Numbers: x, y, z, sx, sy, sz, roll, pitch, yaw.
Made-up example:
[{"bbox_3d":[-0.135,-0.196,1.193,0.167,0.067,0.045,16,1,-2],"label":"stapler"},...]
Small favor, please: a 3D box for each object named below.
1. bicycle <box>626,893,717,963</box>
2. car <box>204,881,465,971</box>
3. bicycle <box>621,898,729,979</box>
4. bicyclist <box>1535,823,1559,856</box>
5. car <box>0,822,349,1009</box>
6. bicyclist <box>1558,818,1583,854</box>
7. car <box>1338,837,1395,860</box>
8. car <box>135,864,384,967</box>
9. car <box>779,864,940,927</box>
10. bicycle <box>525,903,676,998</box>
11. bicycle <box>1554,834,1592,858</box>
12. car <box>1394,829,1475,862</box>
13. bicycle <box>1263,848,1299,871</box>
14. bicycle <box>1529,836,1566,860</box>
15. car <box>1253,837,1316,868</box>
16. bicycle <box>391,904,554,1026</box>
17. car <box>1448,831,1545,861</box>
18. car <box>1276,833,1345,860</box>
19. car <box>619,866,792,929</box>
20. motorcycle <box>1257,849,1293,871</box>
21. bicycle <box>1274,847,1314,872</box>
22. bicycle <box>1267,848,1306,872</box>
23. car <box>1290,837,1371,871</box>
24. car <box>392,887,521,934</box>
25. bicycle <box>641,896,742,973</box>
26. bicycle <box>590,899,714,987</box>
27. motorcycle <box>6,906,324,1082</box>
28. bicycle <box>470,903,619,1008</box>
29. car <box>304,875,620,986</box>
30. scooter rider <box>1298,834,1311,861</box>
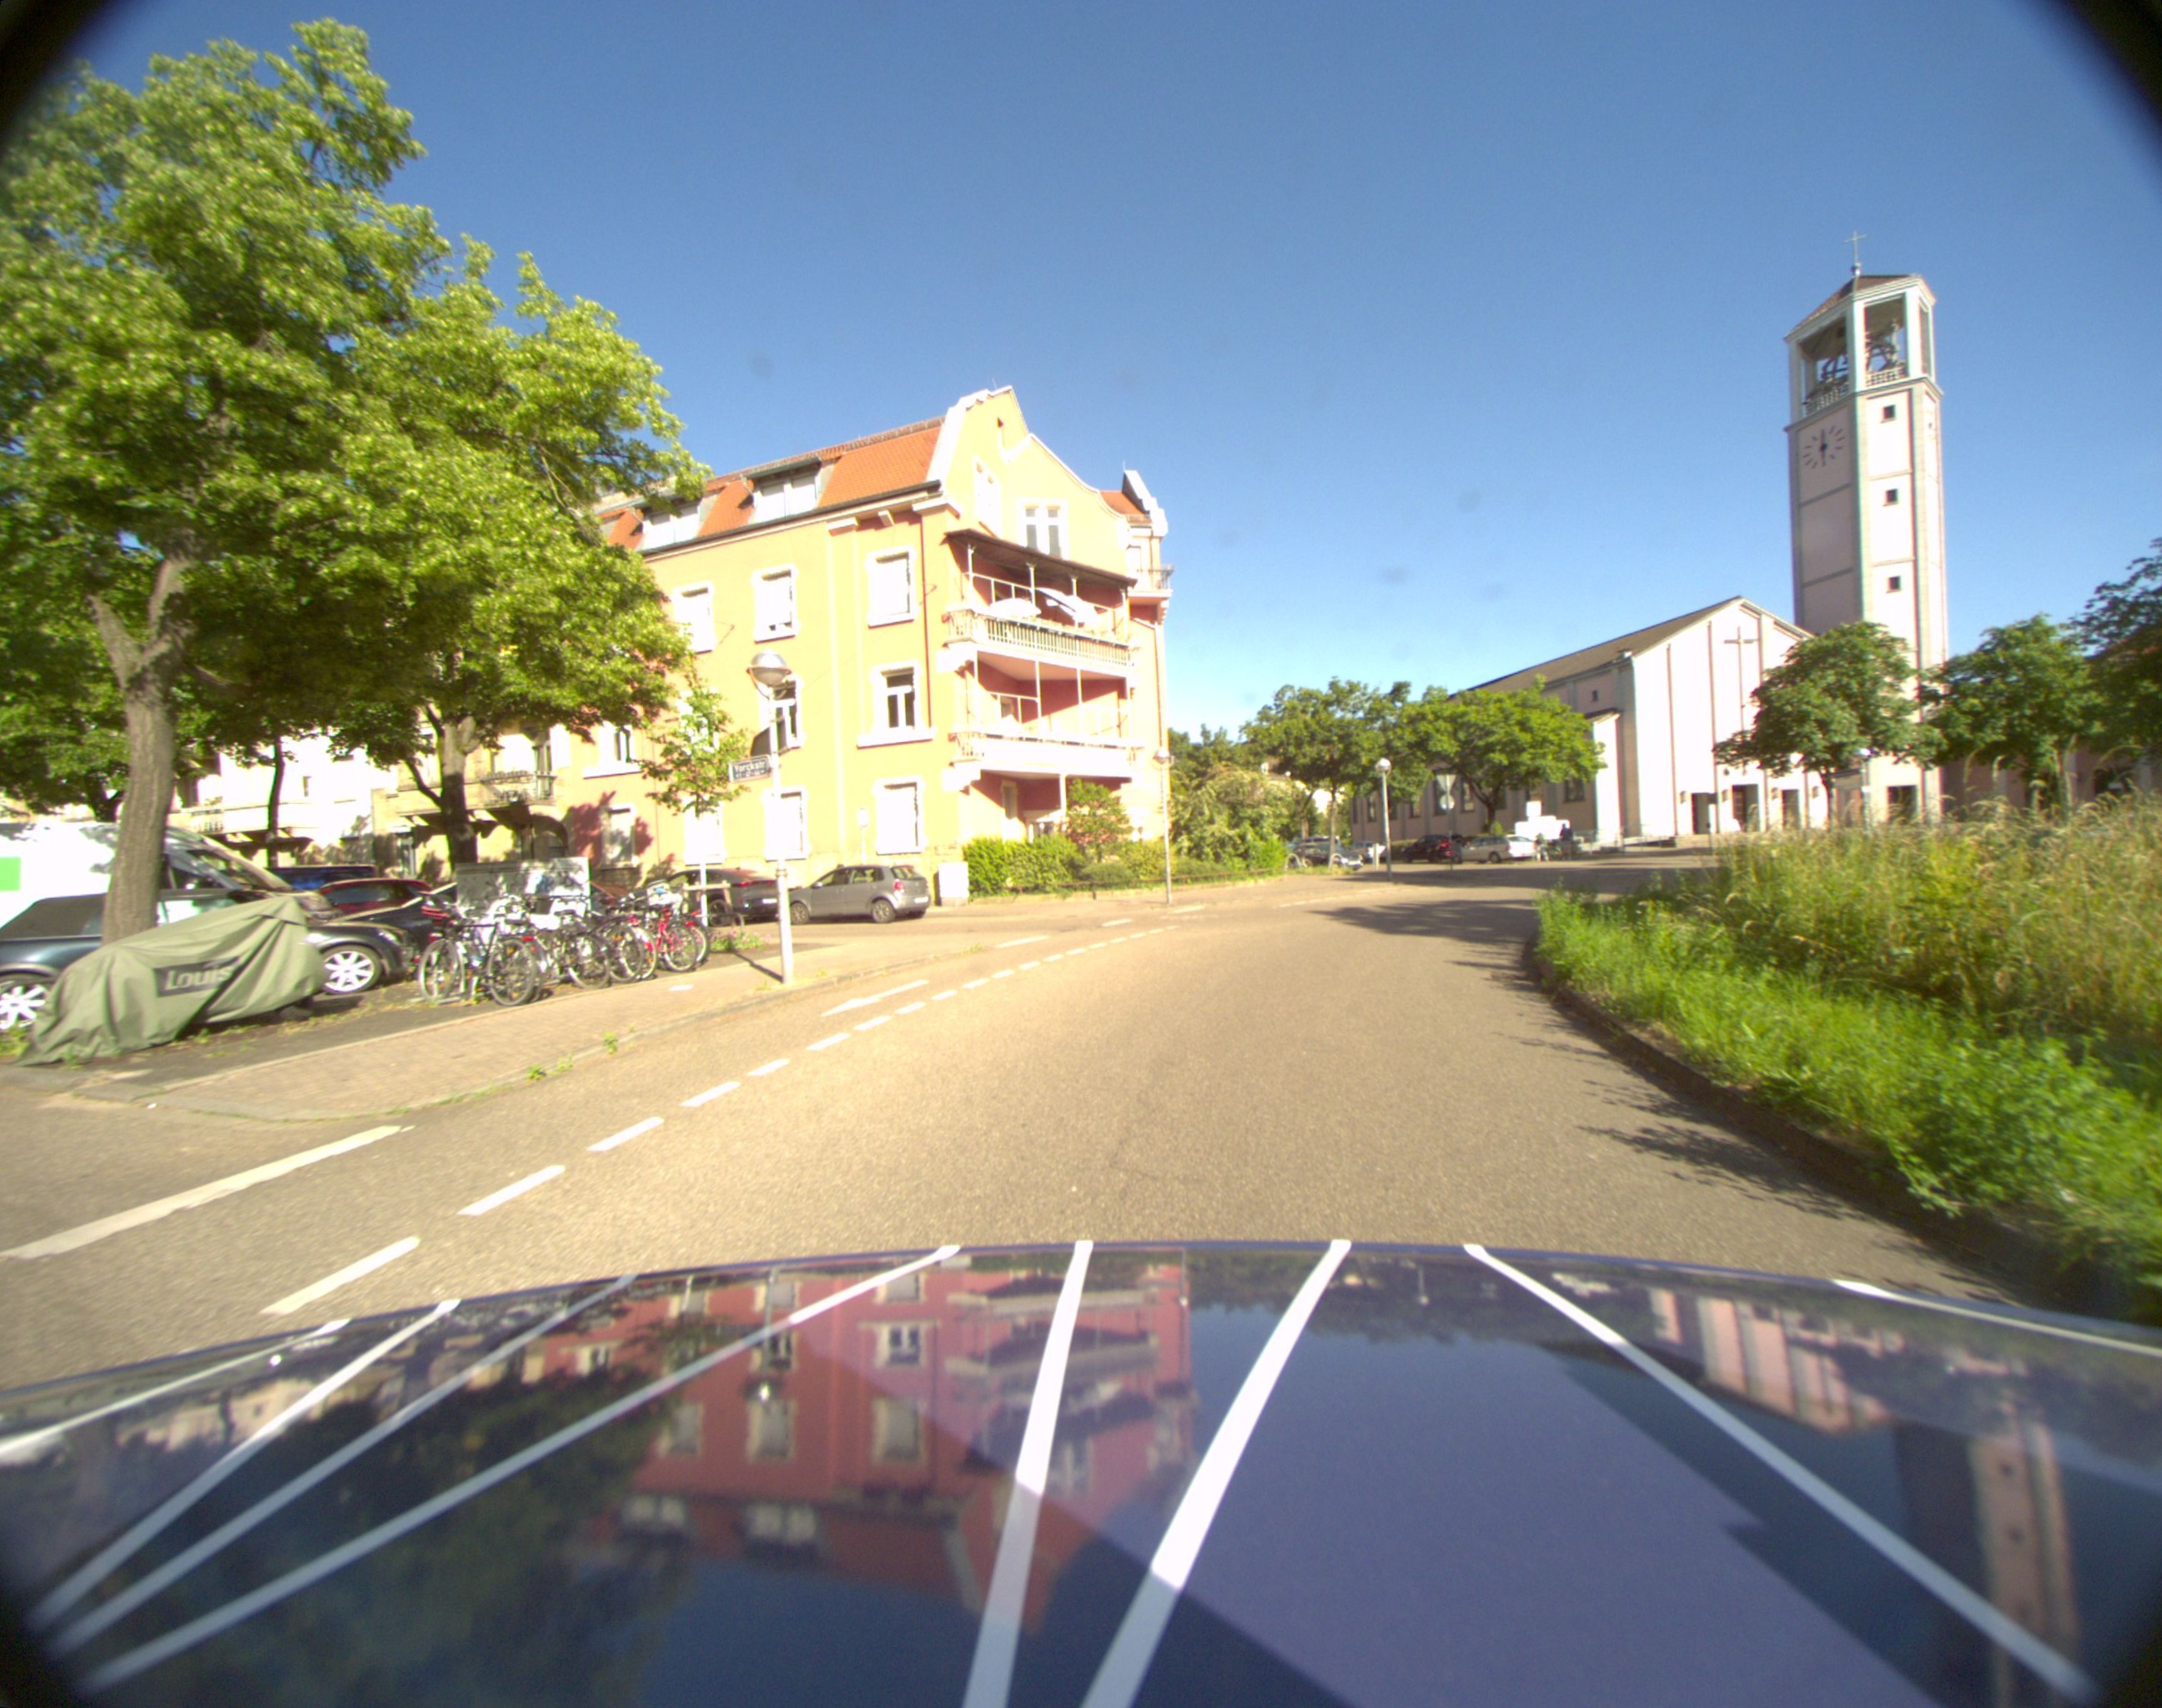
[{"bbox_3d":[-6.717,1.194,12.439,1.523,1.079,0.420,-2,0,22],"label":"bicycle"},{"bbox_3d":[-14.714,1.344,15.137,1.684,1.438,3.391,-3,-1,33],"label":"car"},{"bbox_3d":[-5.753,1.174,10.759,1.570,1.083,0.420,-2,0,22],"label":"bicycle"},{"bbox_3d":[22.675,-0.709,36.958,0.595,1.572,0.804,-3,1,0],"label":"bicyclist"},{"bbox_3d":[-15.594,0.887,11.317,6.386,2.584,2.099,-2,-1,-30],"label":"car"},{"bbox_3d":[23.825,-0.867,36.981,0.645,1.704,0.723,-3,1,-2],"label":"bicyclist"},{"bbox_3d":[19.077,-0.348,50.990,1.809,1.465,4.336,-2,0,-6],"label":"car"},{"bbox_3d":[-17.065,1.205,16.054,3.391,1.854,1.684,-1,-1,-42],"label":"car"},{"bbox_3d":[-5.580,1.035,19.234,3.539,1.438,1.691,-2,-1,19],"label":"car"},{"bbox_3d":[-6.009,1.174,9.511,1.726,1.082,0.658,-1,0,20],"label":"bicycle"},{"bbox_3d":[23.862,-0.365,36.872,0.645,1.101,1.716,-3,1,-2],"label":"bicycle"},{"bbox_3d":[20.026,-0.460,43.268,1.810,1.718,4.333,-2,0,-13],"label":"car"},{"bbox_3d":[9.846,0.268,37.384,1.832,1.100,0.500,-1,1,-24],"label":"bicycle"},{"bbox_3d":[22.695,-0.300,36.979,0.595,1.101,1.863,-3,1,0],"label":"bicycle"},{"bbox_3d":[11.785,-0.095,44.289,1.809,1.553,4.395,-5,1,-9],"label":"car"},{"bbox_3d":[-6.511,1.145,8.125,1.676,1.186,0.539,-2,0,20],"label":"bicycle"},{"bbox_3d":[20.694,-0.363,38.040,1.810,1.407,4.333,-2,0,-13],"label":"car"},{"bbox_3d":[17.785,-0.574,58.968,4.781,1.989,1.808,-2,0,-13],"label":"car"},{"bbox_3d":[-10.280,1.199,20.833,4.286,1.553,1.691,-2,-1,19],"label":"car"},{"bbox_3d":[9.750,0.298,38.118,1.728,1.101,0.500,-1,1,-16],"label":"motorcycle"},{"bbox_3d":[9.993,0.246,35.653,1.727,1.108,0.545,-1,1,-9],"label":"bicycle"},{"bbox_3d":[9.894,0.266,36.519,1.727,1.108,0.545,-1,1,-9],"label":"bicycle"},{"bbox_3d":[12.575,0.016,38.576,1.810,1.475,4.333,-5,1,-14],"label":"car"},{"bbox_3d":[-20.046,1.807,24.405,3.274,1.373,1.691,-2,-1,19],"label":"car"},{"bbox_3d":[-5.786,1.178,11.274,1.523,1.079,0.420,-2,0,22],"label":"bicycle"},{"bbox_3d":[-5.732,1.163,10.140,1.646,1.095,0.501,-2,0,22],"label":"bicycle"},{"bbox_3d":[-8.067,1.153,6.808,0.537,1.263,1.714,-2,0,24],"label":"motorcycle"},{"bbox_3d":[-6.272,1.152,8.877,1.599,1.120,0.590,-2,0,20],"label":"bicycle"},{"bbox_3d":[-10.259,1.161,12.805,1.684,1.438,3.930,-3,-1,44],"label":"car"},{"bbox_3d":[15.432,-0.424,52.578,0.625,1.821,0.631,-2,1,-2],"label":"scooter rider"}]
